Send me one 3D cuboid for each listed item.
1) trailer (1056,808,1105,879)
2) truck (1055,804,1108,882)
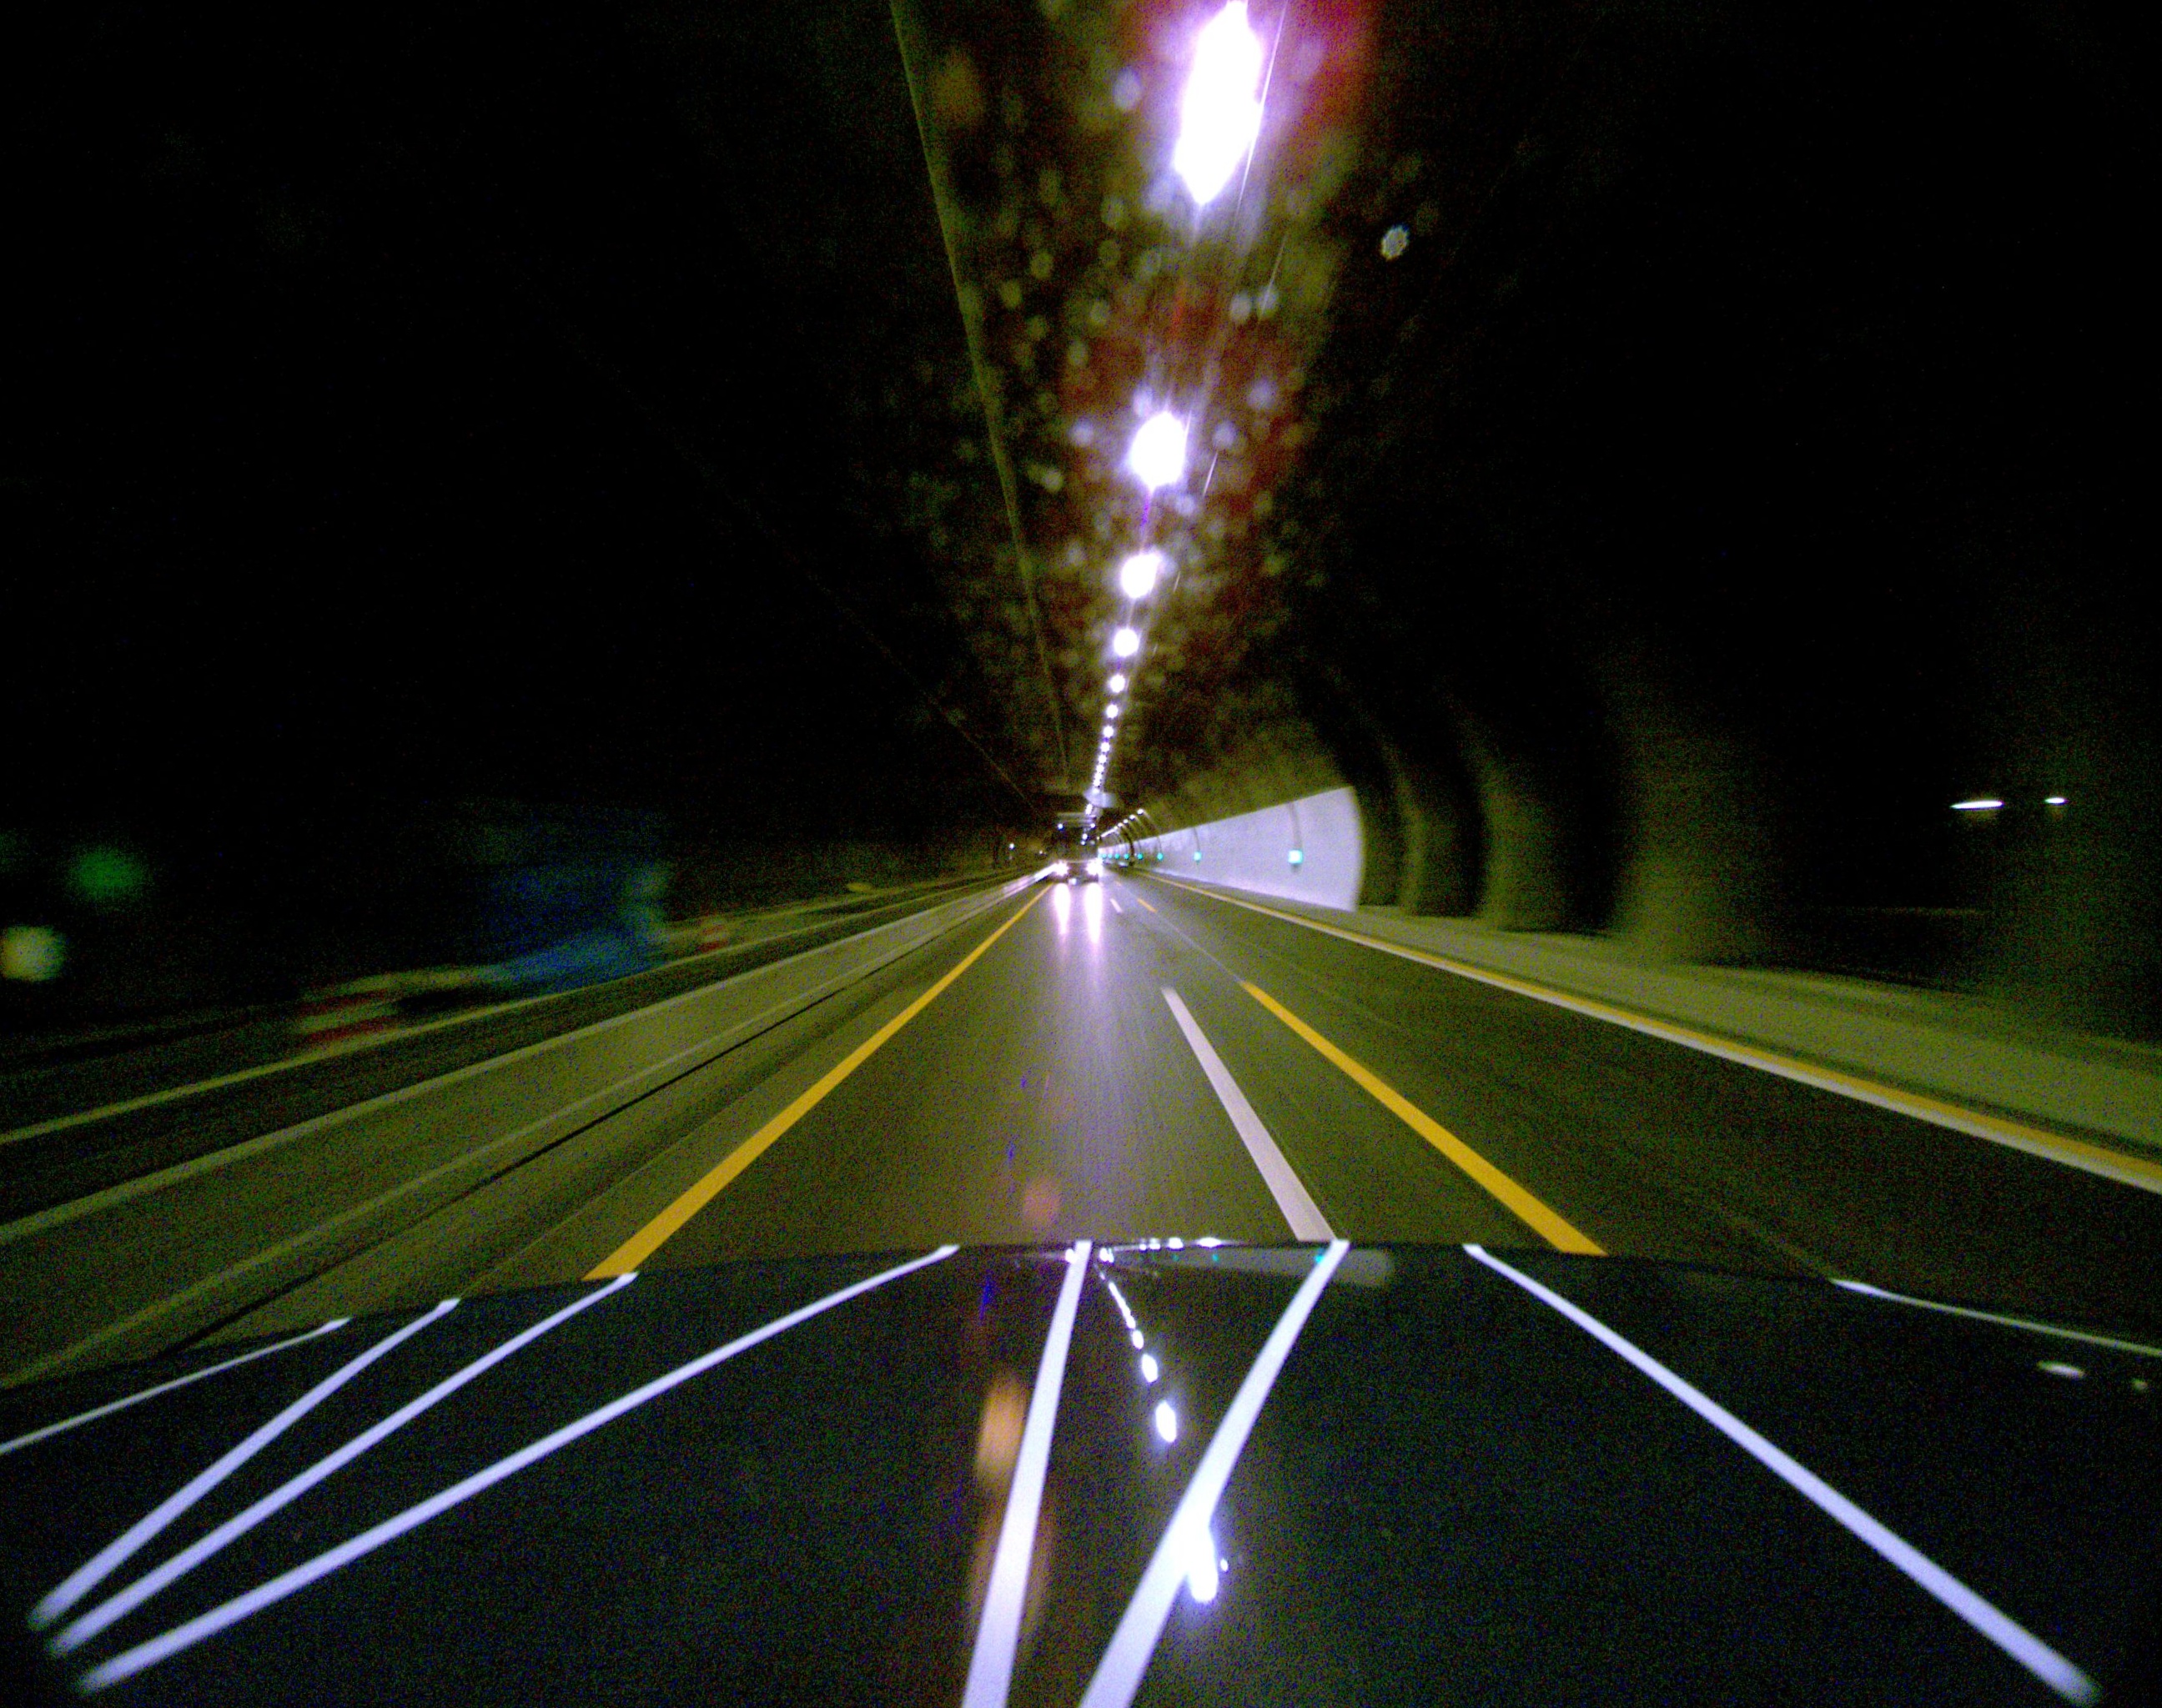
[{"bbox_3d":[-0.145,-0.706,51.951,2.940,4.316,10.050,-2,1,-1],"label":"trailer"},{"bbox_3d":[-0.034,-0.650,46.756,2.951,4.338,6.674,-2,1,-1],"label":"truck"}]
